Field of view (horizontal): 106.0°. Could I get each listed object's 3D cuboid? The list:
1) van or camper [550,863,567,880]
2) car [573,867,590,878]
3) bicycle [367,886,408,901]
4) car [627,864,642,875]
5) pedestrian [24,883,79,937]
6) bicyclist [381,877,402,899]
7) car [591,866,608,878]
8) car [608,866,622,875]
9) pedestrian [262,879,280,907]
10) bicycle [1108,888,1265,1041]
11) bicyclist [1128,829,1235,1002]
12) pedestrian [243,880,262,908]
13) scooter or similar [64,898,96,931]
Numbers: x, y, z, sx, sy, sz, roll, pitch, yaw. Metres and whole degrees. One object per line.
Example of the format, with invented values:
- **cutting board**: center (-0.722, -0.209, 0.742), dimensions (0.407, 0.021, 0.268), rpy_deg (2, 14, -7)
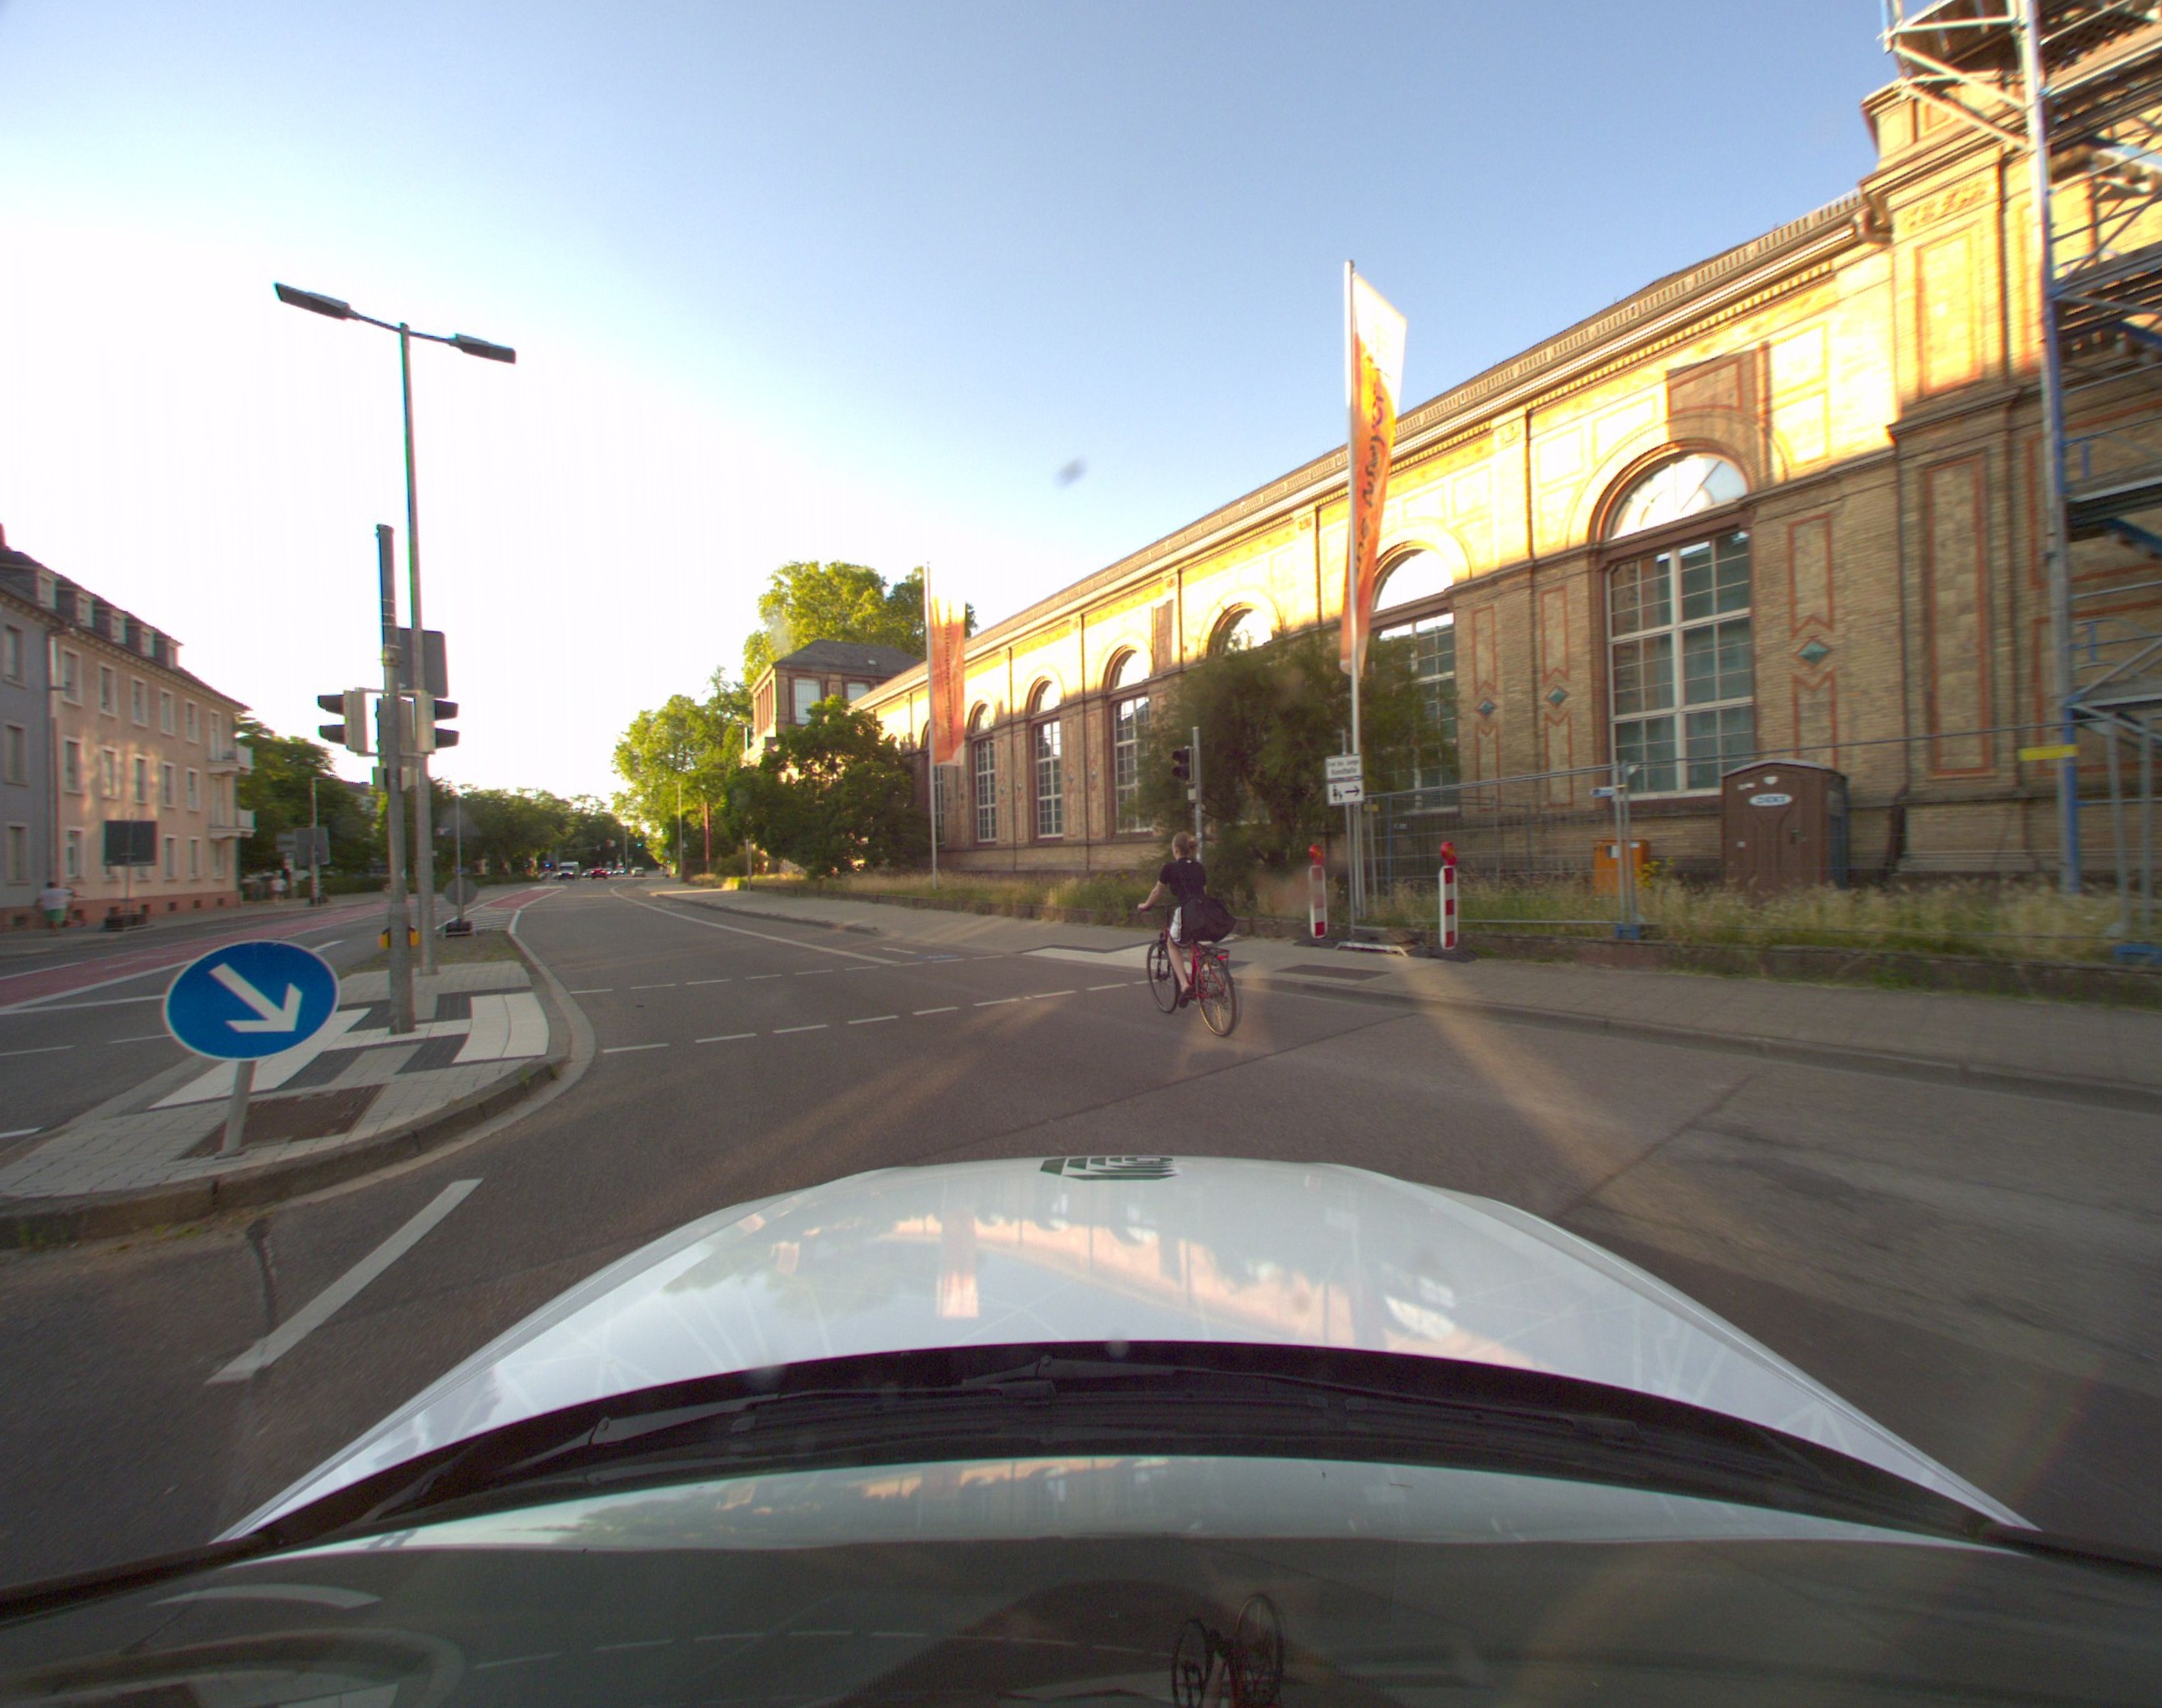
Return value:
- **van or camper**: center (-73.660, 2.468, 114.831), dimensions (1.841, 2.194, 4.377), rpy_deg (-2, 0, -32)
- **car**: center (-82.223, 2.975, 134.053), dimensions (2.005, 1.720, 3.963), rpy_deg (-2, 0, -28)
- **bicycle**: center (-50.986, 2.889, 59.915), dimensions (0.764, 0.928, 2.205), rpy_deg (-2, 0, 19)
- **car**: center (-73.533, 2.607, 134.154), dimensions (2.005, 1.720, 3.965), rpy_deg (-2, 0, -27)
- **pedestrian**: center (-33.236, 1.807, 26.316), dimensions (0.881, 1.653, 0.802), rpy_deg (-2, -3, -32)
- **bicyclist**: center (-50.913, 2.513, 60.151), dimensions (0.745, 1.596, 0.877), rpy_deg (-2, 0, 19)
- **car**: center (-69.655, 2.584, 117.840), dimensions (2.006, 1.720, 3.961), rpy_deg (-2, 0, -30)
- **car**: center (-92.849, 3.312, 162.195), dimensions (2.004, 1.720, 3.966), rpy_deg (-2, 0, -26)
- **pedestrian**: center (-46.537, 2.220, 46.796), dimensions (0.620, 1.574, 0.716), rpy_deg (-2, 0, -39)
- **bicycle**: center (0.900, 0.927, 7.607), dimensions (0.713, 1.156, 2.058), rpy_deg (0, -1, -15)
- **bicyclist**: center (0.914, 0.536, 7.584), dimensions (0.717, 1.502, 0.846), rpy_deg (0, -1, -15)
- **pedestrian**: center (-47.159, 2.269, 46.360), dimensions (0.620, 1.534, 0.682), rpy_deg (-2, 0, -39)
- **scooter or similar**: center (-36.840, 2.226, 29.973), dimensions (0.398, 1.128, 0.854), rpy_deg (-2, 0, -28)
